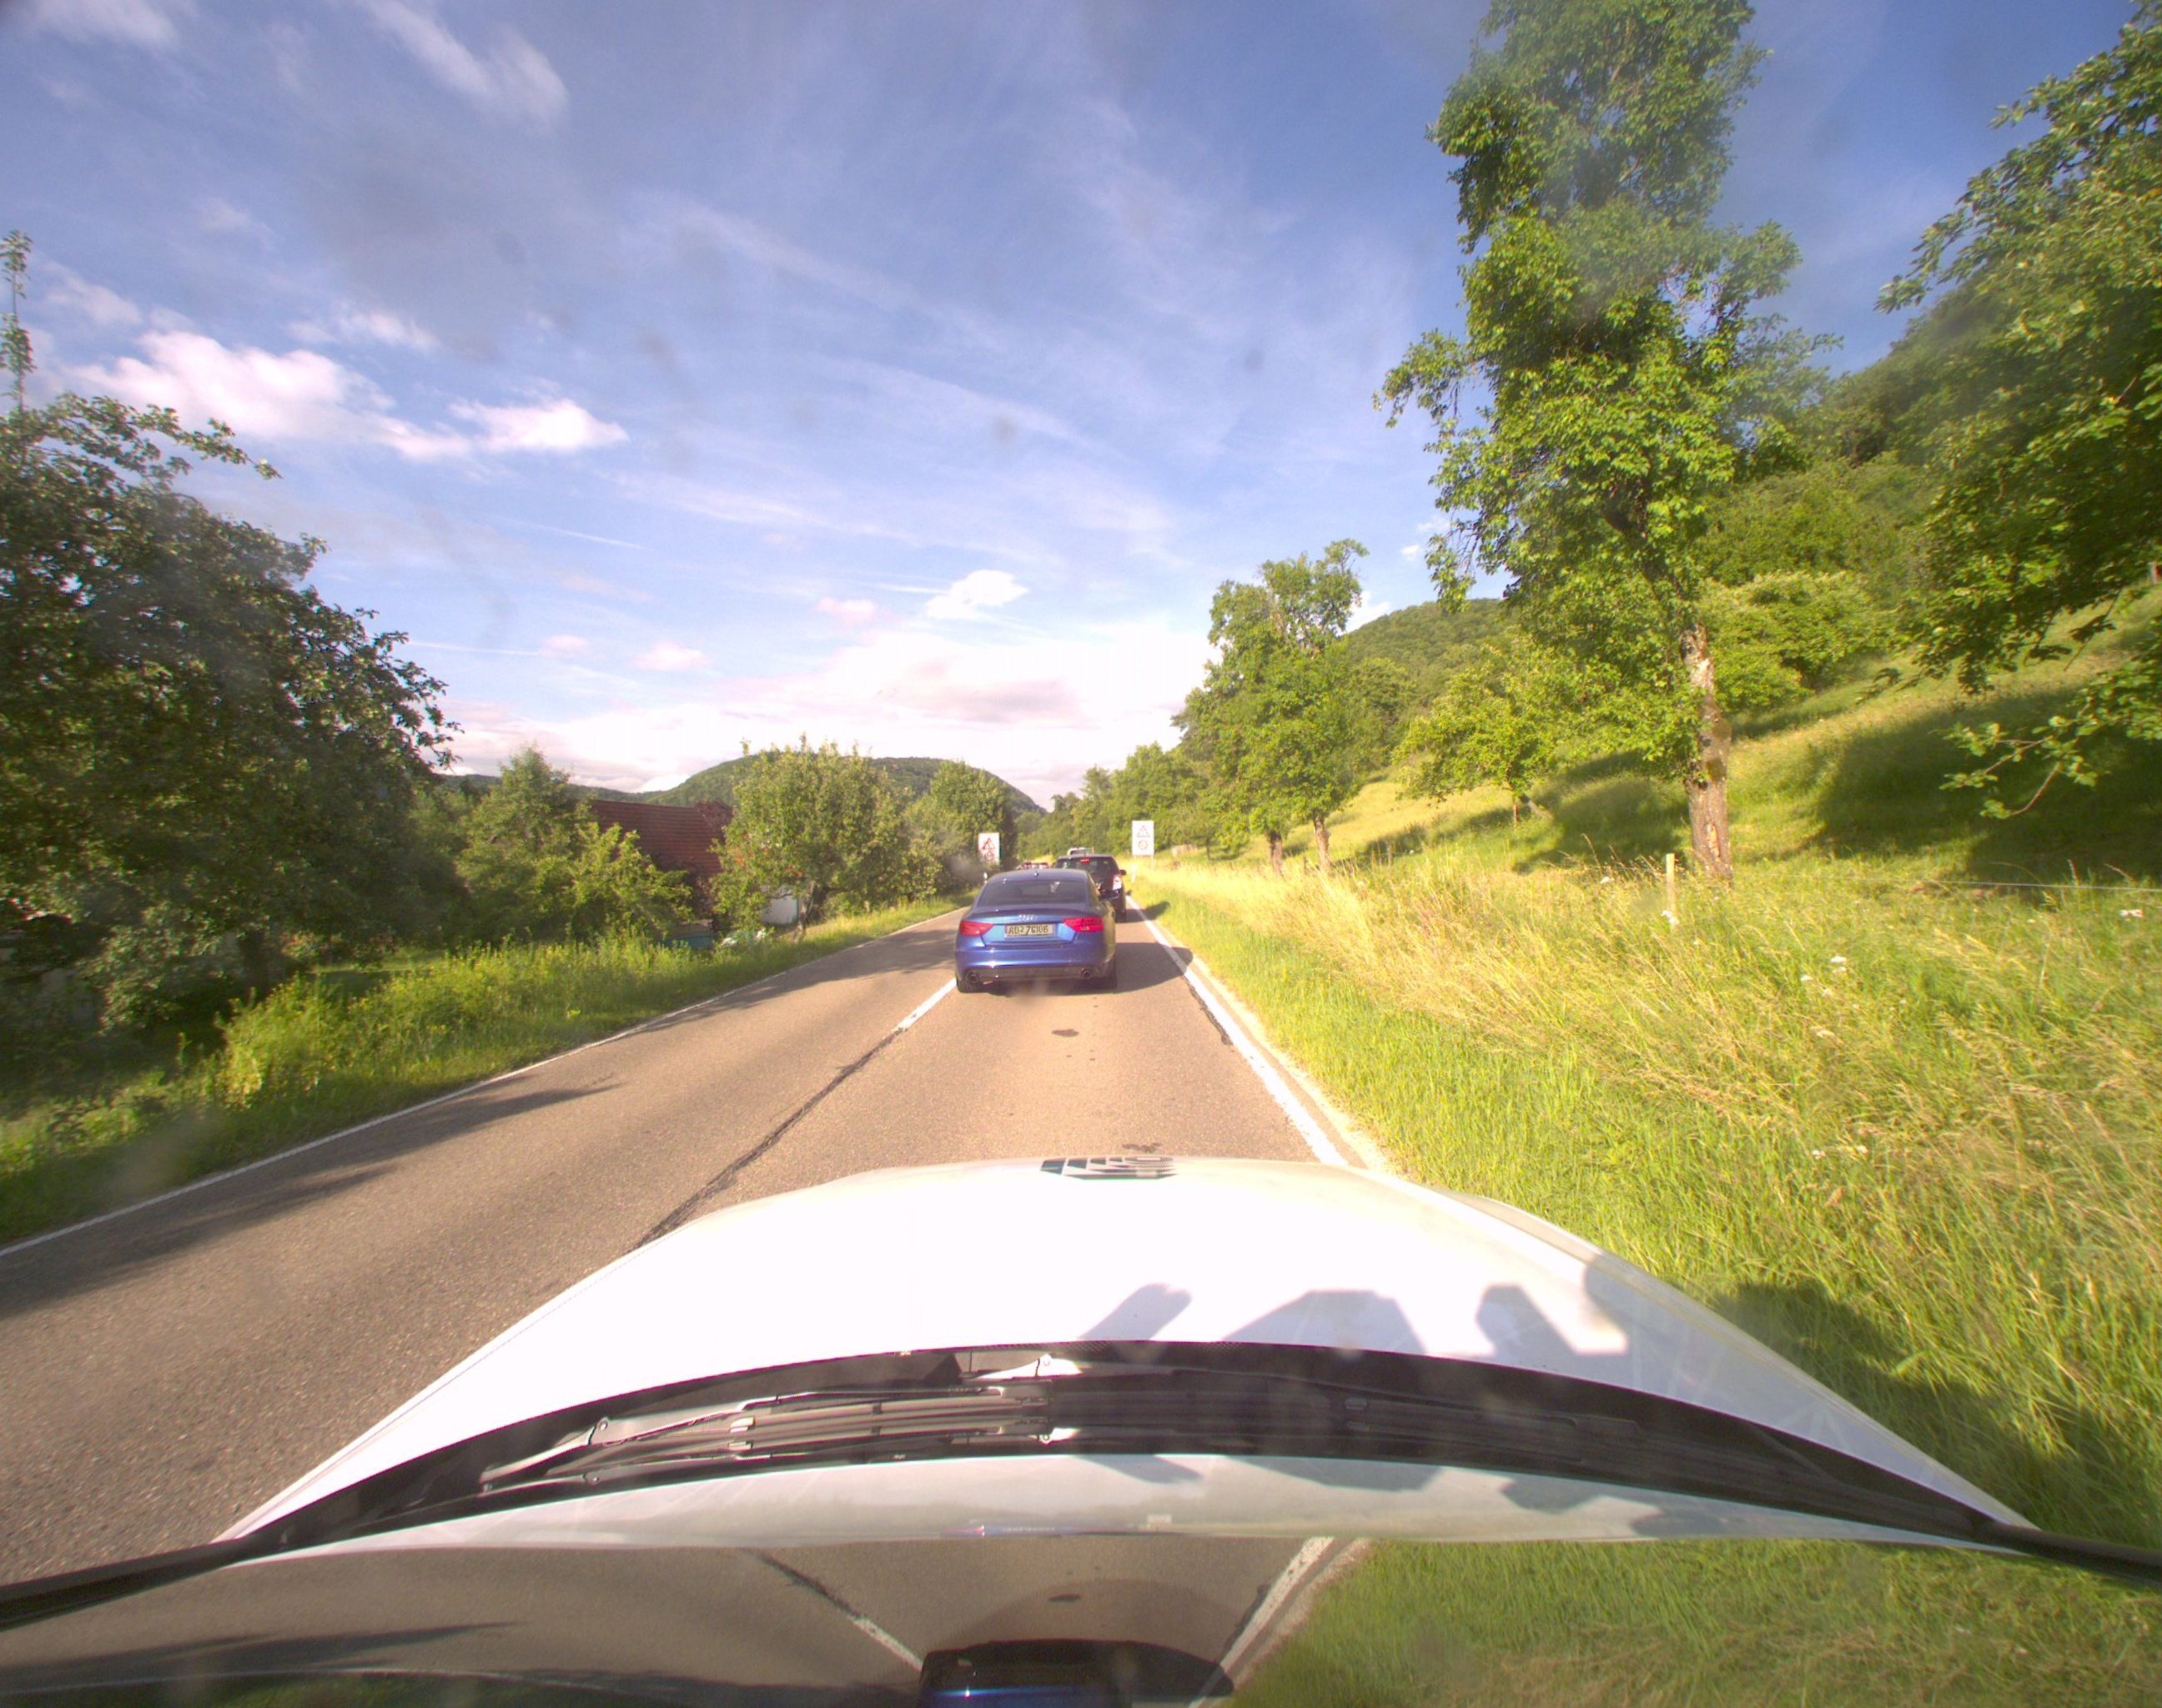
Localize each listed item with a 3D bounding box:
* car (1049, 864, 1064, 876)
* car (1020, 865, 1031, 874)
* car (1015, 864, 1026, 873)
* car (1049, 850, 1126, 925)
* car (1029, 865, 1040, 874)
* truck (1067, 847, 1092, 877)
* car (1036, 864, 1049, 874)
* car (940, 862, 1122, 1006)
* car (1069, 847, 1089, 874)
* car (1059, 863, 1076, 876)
[{"bbox_3d":[-3.381,2.182,112.195,1.746,1.496,3.768,1,0,-7],"label":"car"},{"bbox_3d":[-10.291,2.843,152.004,1.559,1.496,3.763,1,0,-11],"label":"car"},{"bbox_3d":[-11.896,2.833,159.974,1.559,1.496,3.763,1,0,-11],"label":"car"},{"bbox_3d":[0.174,0.729,19.640,1.687,1.624,3.790,0,0,1],"label":"car"},{"bbox_3d":[-8.155,2.714,143.162,1.559,1.496,3.765,1,0,-10],"label":"car"},{"bbox_3d":[-0.069,0.647,67.212,1.943,2.345,5.093,1,0,0],"label":"truck"},{"bbox_3d":[-6.302,2.460,133.918,1.748,1.496,3.765,1,0,-10],"label":"car"},{"bbox_3d":[-0.456,0.833,10.376,1.799,1.382,4.216,-2,0,1],"label":"car"},{"bbox_3d":[-0.202,0.644,76.794,1.787,2.453,3.916,1,0,-2],"label":"car"},{"bbox_3d":[-1.625,1.828,97.097,1.745,1.496,3.771,1,0,-5],"label":"car"}]
